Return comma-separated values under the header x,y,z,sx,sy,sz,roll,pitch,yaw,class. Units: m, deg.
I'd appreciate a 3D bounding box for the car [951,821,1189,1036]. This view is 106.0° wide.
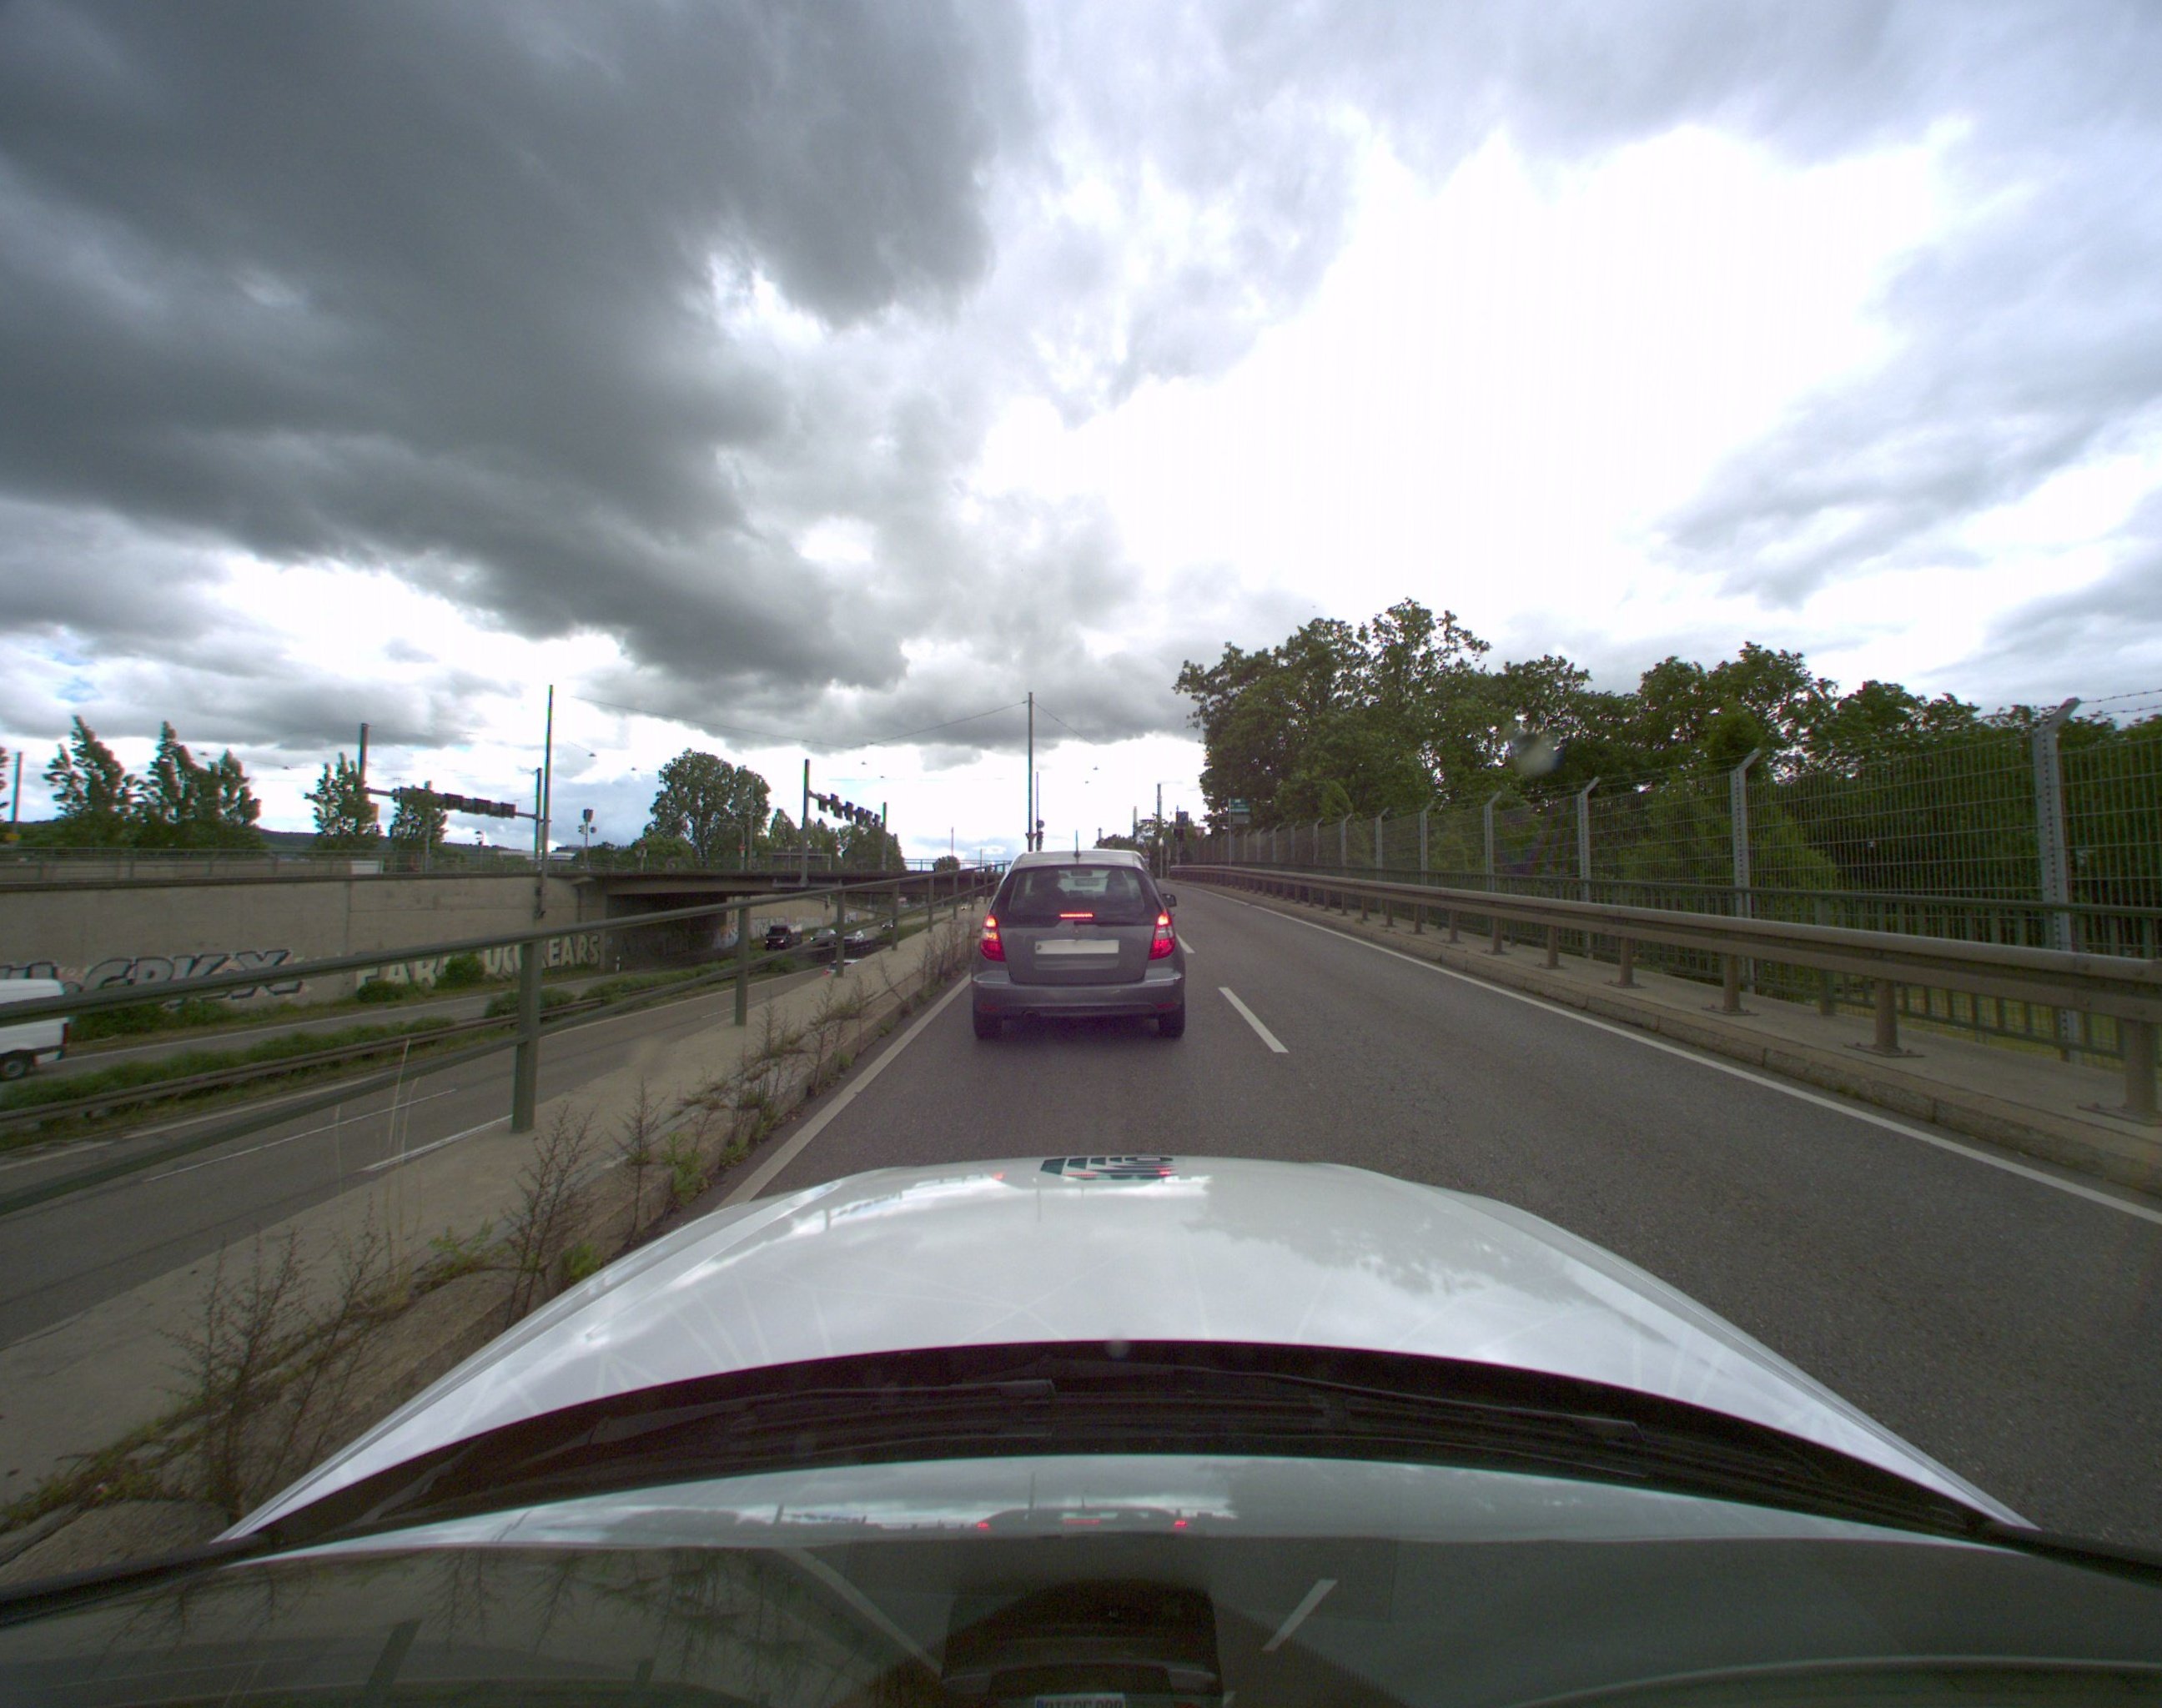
x,y,z,sx,sy,sz,roll,pitch,yaw,class
0.167,0.629,8.144,1.740,1.581,4.093,-1,-2,8,car

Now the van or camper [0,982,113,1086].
x,y,z,sx,sy,sz,roll,pitch,yaw,class
-28.976,4.693,20.168,2.175,2.457,6.345,0,-4,0,van or camper

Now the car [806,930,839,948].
x,y,z,sx,sy,sz,roll,pitch,yaw,class
-26.253,8.624,82.812,1.987,1.662,3.999,0,-4,1,car

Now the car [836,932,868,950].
x,y,z,sx,sy,sz,roll,pitch,yaw,class
-22.886,8.647,81.390,1.987,1.662,3.999,0,-4,1,car

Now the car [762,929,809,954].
x,y,z,sx,sy,sz,roll,pitch,yaw,class
-29.251,8.640,80.933,2.282,2.156,6.183,-1,-4,1,car

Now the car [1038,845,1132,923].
x,y,z,sx,sy,sz,roll,pitch,yaw,class
0.144,0.619,19.475,1.986,1.603,4.002,-1,1,1,car

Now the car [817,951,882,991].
x,y,z,sx,sy,sz,roll,pitch,yaw,class
-11.501,5.793,40.672,1.846,1.500,4.004,-1,-2,4,car
